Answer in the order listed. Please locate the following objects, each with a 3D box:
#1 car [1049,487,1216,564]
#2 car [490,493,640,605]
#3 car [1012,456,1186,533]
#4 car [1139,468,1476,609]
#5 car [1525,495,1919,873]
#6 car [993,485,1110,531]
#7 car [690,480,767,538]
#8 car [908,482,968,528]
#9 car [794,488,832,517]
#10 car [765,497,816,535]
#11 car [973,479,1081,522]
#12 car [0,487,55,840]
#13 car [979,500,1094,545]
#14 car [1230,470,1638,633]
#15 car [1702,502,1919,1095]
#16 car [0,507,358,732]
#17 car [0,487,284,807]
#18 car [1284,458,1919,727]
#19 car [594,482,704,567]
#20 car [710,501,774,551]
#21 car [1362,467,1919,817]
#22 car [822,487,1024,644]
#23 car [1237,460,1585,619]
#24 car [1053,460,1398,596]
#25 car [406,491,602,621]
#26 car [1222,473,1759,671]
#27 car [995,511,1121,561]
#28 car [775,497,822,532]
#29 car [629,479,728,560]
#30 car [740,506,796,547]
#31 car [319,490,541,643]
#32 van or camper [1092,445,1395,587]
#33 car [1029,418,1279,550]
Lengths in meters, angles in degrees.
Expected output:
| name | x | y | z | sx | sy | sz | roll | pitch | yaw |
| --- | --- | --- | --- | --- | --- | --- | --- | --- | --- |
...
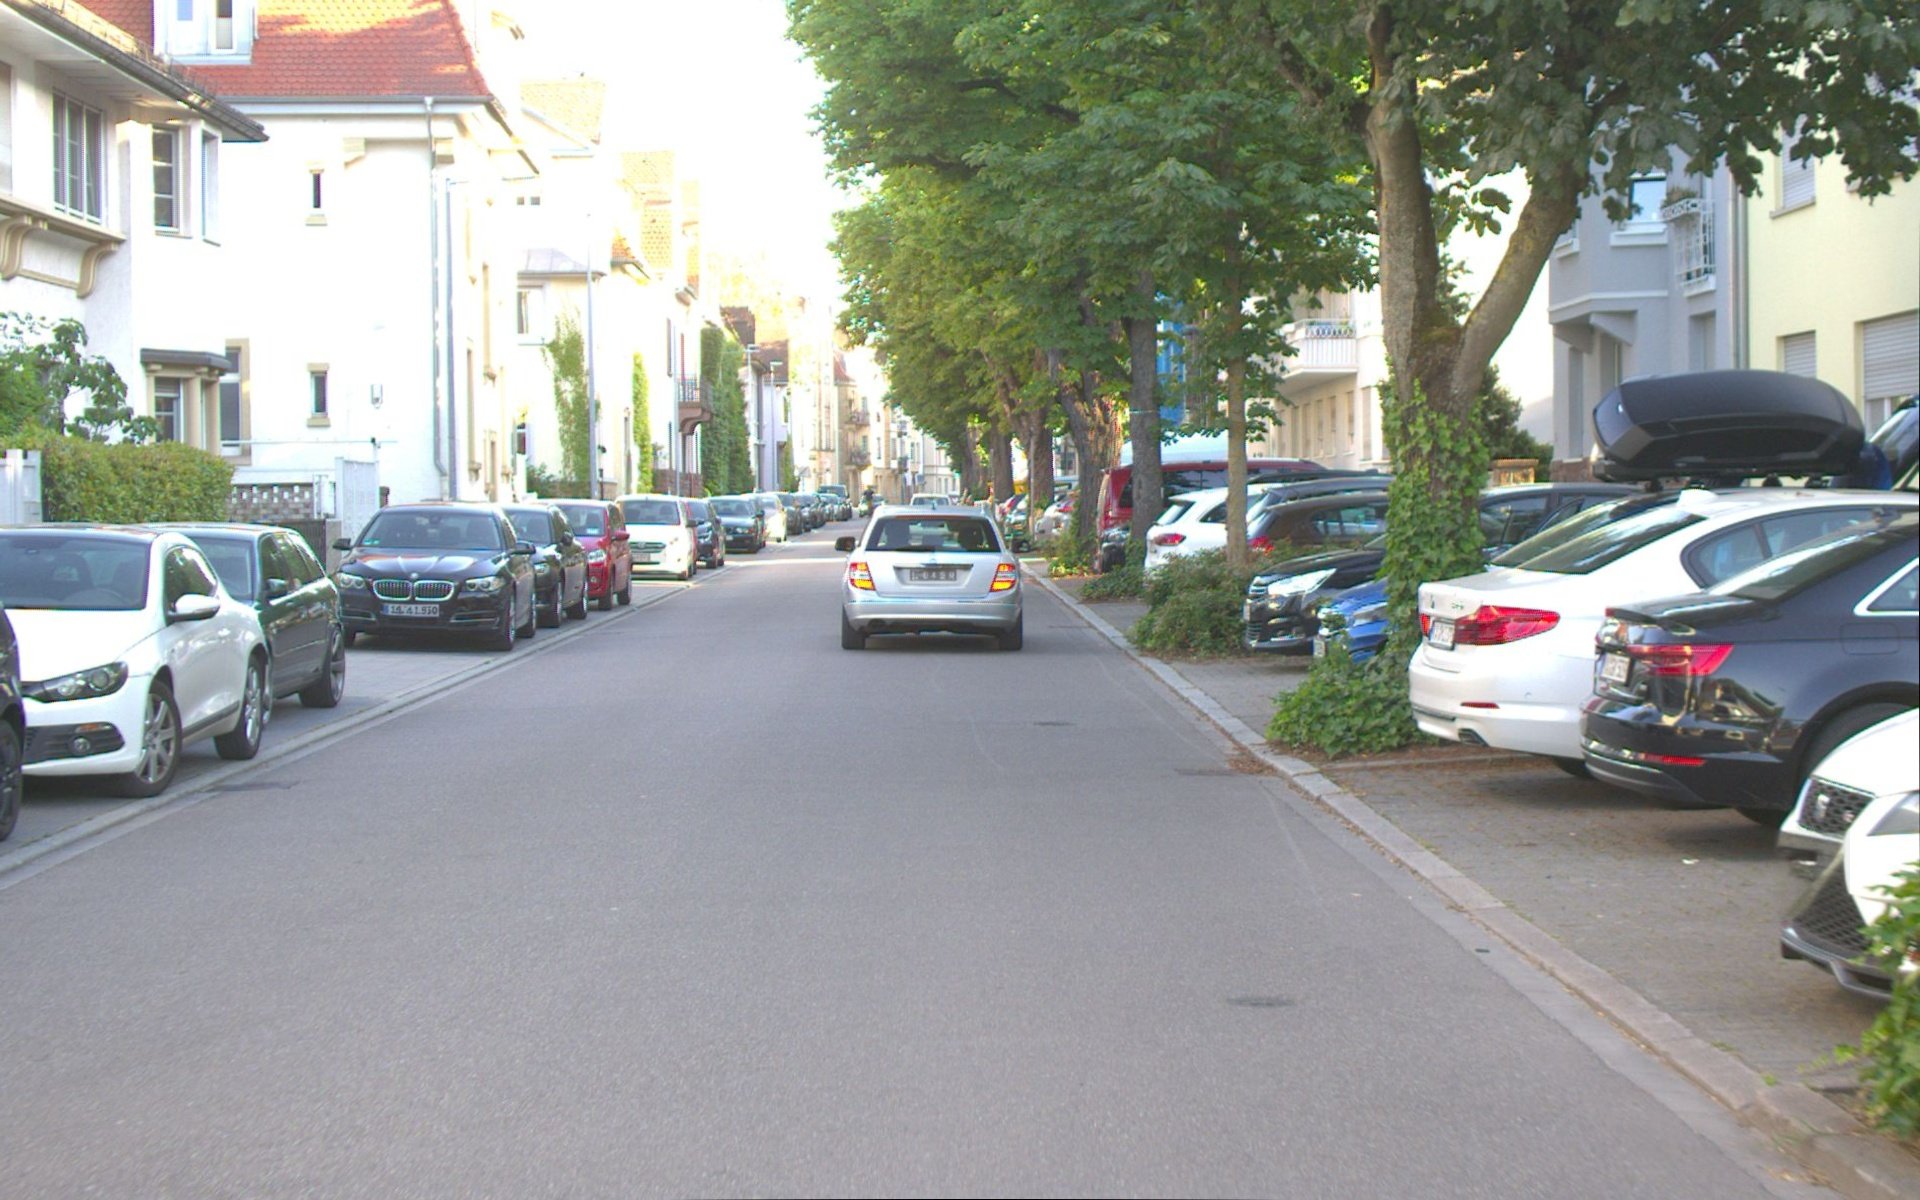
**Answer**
| name | x | y | z | sx | sy | sz | roll | pitch | yaw |
| --- | --- | --- | --- | --- | --- | --- | --- | --- | --- |
| car | 3.841 | -1.667 | 76.904 | 3.594 | 1.654 | 1.650 | -1 | 2 | -2 |
| car | -5.427 | -0.722 | 47.625 | 1.659 | 1.483 | 3.754 | 0 | 1 | 0 |
| car | 3.743 | -2.849 | 93.007 | 4.518 | 2.006 | 2.251 | -1 | 2 | -2 |
| car | 4.036 | -0.730 | 40.345 | 3.730 | 1.553 | 1.725 | -1 | 2 | -1 |
| car | 4.603 | 0.272 | 14.388 | 4.142 | 1.443 | 1.673 | -2 | 2 | -1 |
| car | 3.040 | -3.083 | 114.640 | 3.844 | 1.477 | 1.805 | -1 | 2 | 1 |
| car | -6.019 | -2.385 | 89.748 | 1.799 | 1.477 | 3.857 | 0 | 2 | -1 |
| car | -0.719 | -3.177 | 115.416 | 1.817 | 1.468 | 4.216 | 0 | 1 | 2 |
| car | -7.300 | -4.870 | 171.257 | 1.799 | 1.382 | 3.607 | 0 | 2 | -1 |
| car | -6.401 | -3.176 | 129.881 | 1.799 | 1.382 | 3.607 | 0 | 2 | -1 |
| car | 2.393 | -3.563 | 123.025 | 3.844 | 1.477 | 1.805 | -1 | 2 | 1 |
| car | -5.215 | 0.316 | 14.502 | 1.884 | 1.585 | 4.091 | 0 | 2 | -3 |
| car | 2.583 | -2.635 | 116.899 | 3.844 | 1.477 | 1.805 | -1 | 2 | 1 |
| car | 4.765 | -0.511 | 34.974 | 3.925 | 1.552 | 1.725 | -1 | 2 | 2 |
| car | 4.344 | 0.452 | 9.726 | 4.048 | 1.500 | 1.862 | -1 | 2 | -1 |
| car | -5.466 | 0.073 | 24.149 | 1.758 | 1.442 | 4.142 | 0 | 1 | 0 |
| car | -5.008 | 0.179 | 19.078 | 1.884 | 1.585 | 4.091 | 0 | 2 | -3 |
| car | 4.513 | -0.079 | 22.626 | 4.526 | 1.635 | 1.874 | -1 | 2 | -1 |
| car | -5.625 | -1.378 | 62.512 | 1.659 | 1.494 | 3.754 | 0 | 1 | 0 |
| car | -6.715 | -2.299 | 106.169 | 1.799 | 1.477 | 3.857 | 0 | 2 | -1 |
| car | 4.429 | 0.127 | 17.096 | 4.476 | 1.520 | 1.955 | -2 | 3 | -6 |
| car | -0.310 | -0.359 | 34.497 | 1.817 | 1.468 | 4.216 | 0 | 1 | 2 |
| car | 4.917 | -0.677 | 37.807 | 3.547 | 1.648 | 1.725 | -1 | 2 | -1 |
| car | 3.649 | -1.015 | 47.855 | 4.625 | 1.830 | 1.954 | 0 | 2 | -1 |
| car | -5.502 | -0.567 | 41.972 | 1.783 | 1.492 | 4.700 | 0 | 1 | 0 |
| car | 4.400 | -0.255 | 28.949 | 4.190 | 1.553 | 1.874 | -1 | 2 | -1 |
| car | 3.025 | -1.991 | 106.447 | 3.844 | 1.477 | 1.805 | -1 | 2 | 1 |
| car | -6.612 | -3.517 | 141.398 | 1.799 | 1.382 | 3.607 | 0 | 2 | -1 |
| car | -5.868 | -1.699 | 71.969 | 1.799 | 1.638 | 3.857 | 0 | 2 | -1 |
| car | -6.683 | -2.572 | 120.084 | 1.799 | 1.382 | 3.607 | 0 | 2 | -1 |
| car | -5.451 | -0.381 | 35.861 | 1.854 | 1.492 | 4.656 | 0 | 1 | -3 |
| van or camper | 4.092 | -1.237 | 50.182 | 4.313 | 2.006 | 2.000 | 0 | 2 | 3 |
| car | 4.478 | -2.712 | 79.977 | 5.541 | 2.958 | 2.472 | -1 | 2 | -3 |
